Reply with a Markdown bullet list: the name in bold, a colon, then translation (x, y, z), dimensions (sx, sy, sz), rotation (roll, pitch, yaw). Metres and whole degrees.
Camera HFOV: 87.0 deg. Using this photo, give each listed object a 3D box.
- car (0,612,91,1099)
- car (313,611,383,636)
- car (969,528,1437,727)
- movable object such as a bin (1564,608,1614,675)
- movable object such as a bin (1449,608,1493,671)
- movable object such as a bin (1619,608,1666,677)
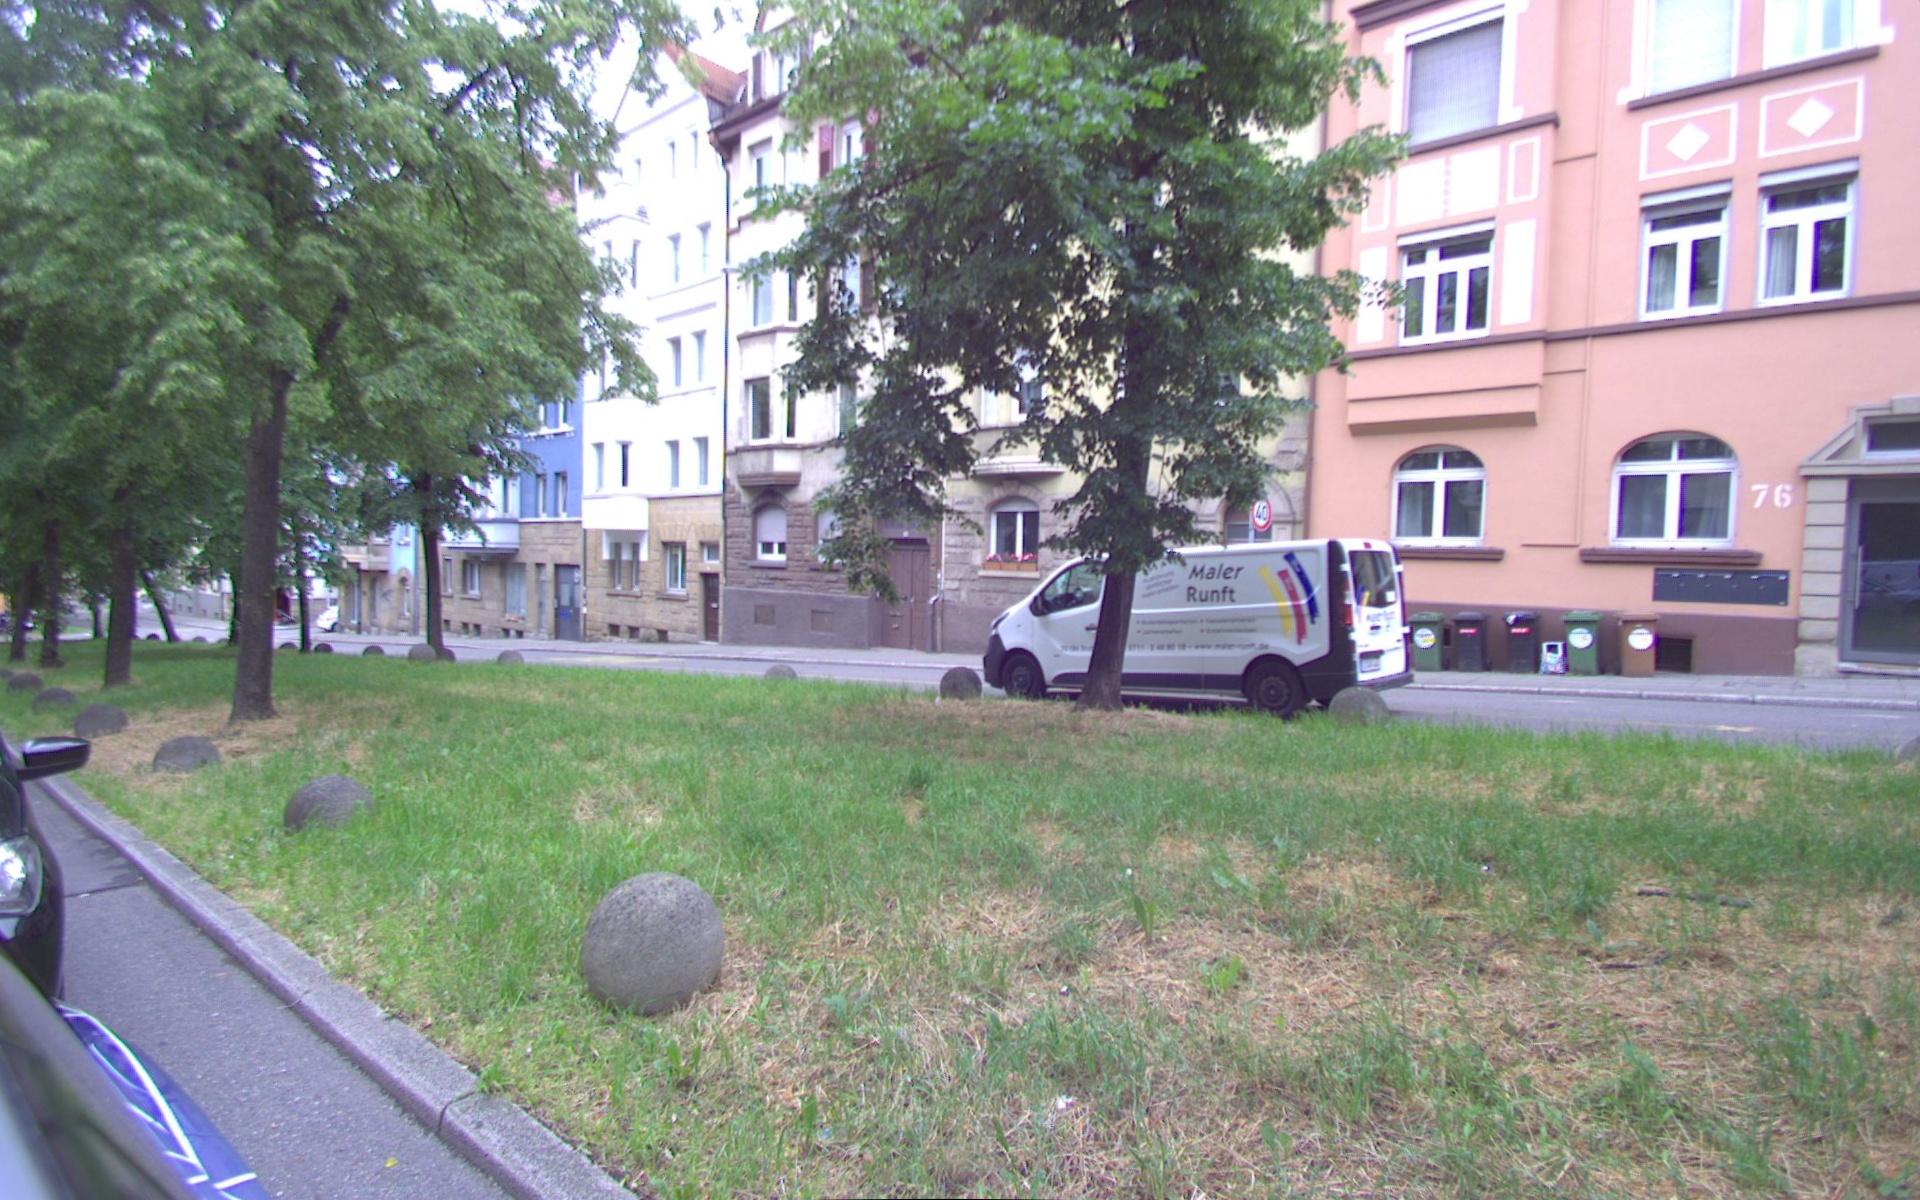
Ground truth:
- **car**: translation (-4.542, 0.776, 3.704), dimensions (3.295, 1.476, 1.590), rotation (-1, -2, 41)
- **car**: translation (-35.357, 1.329, 58.509), dimensions (3.244, 1.341, 1.674), rotation (-1, 0, -40)
- **car**: translation (2.757, 0.305, 12.505), dimensions (5.307, 1.959, 1.972), rotation (-2, 0, 43)
- **movable object such as a bin**: translation (9.171, 0.593, 14.743), dimensions (0.558, 0.928, 0.648), rotation (-1, 0, 36)
- **movable object such as a bin**: translation (7.989, 0.607, 15.818), dimensions (0.531, 0.953, 0.575), rotation (-1, 0, 35)
- **movable object such as a bin**: translation (9.665, 0.586, 14.324), dimensions (0.514, 0.928, 0.750), rotation (-1, 0, 36)
